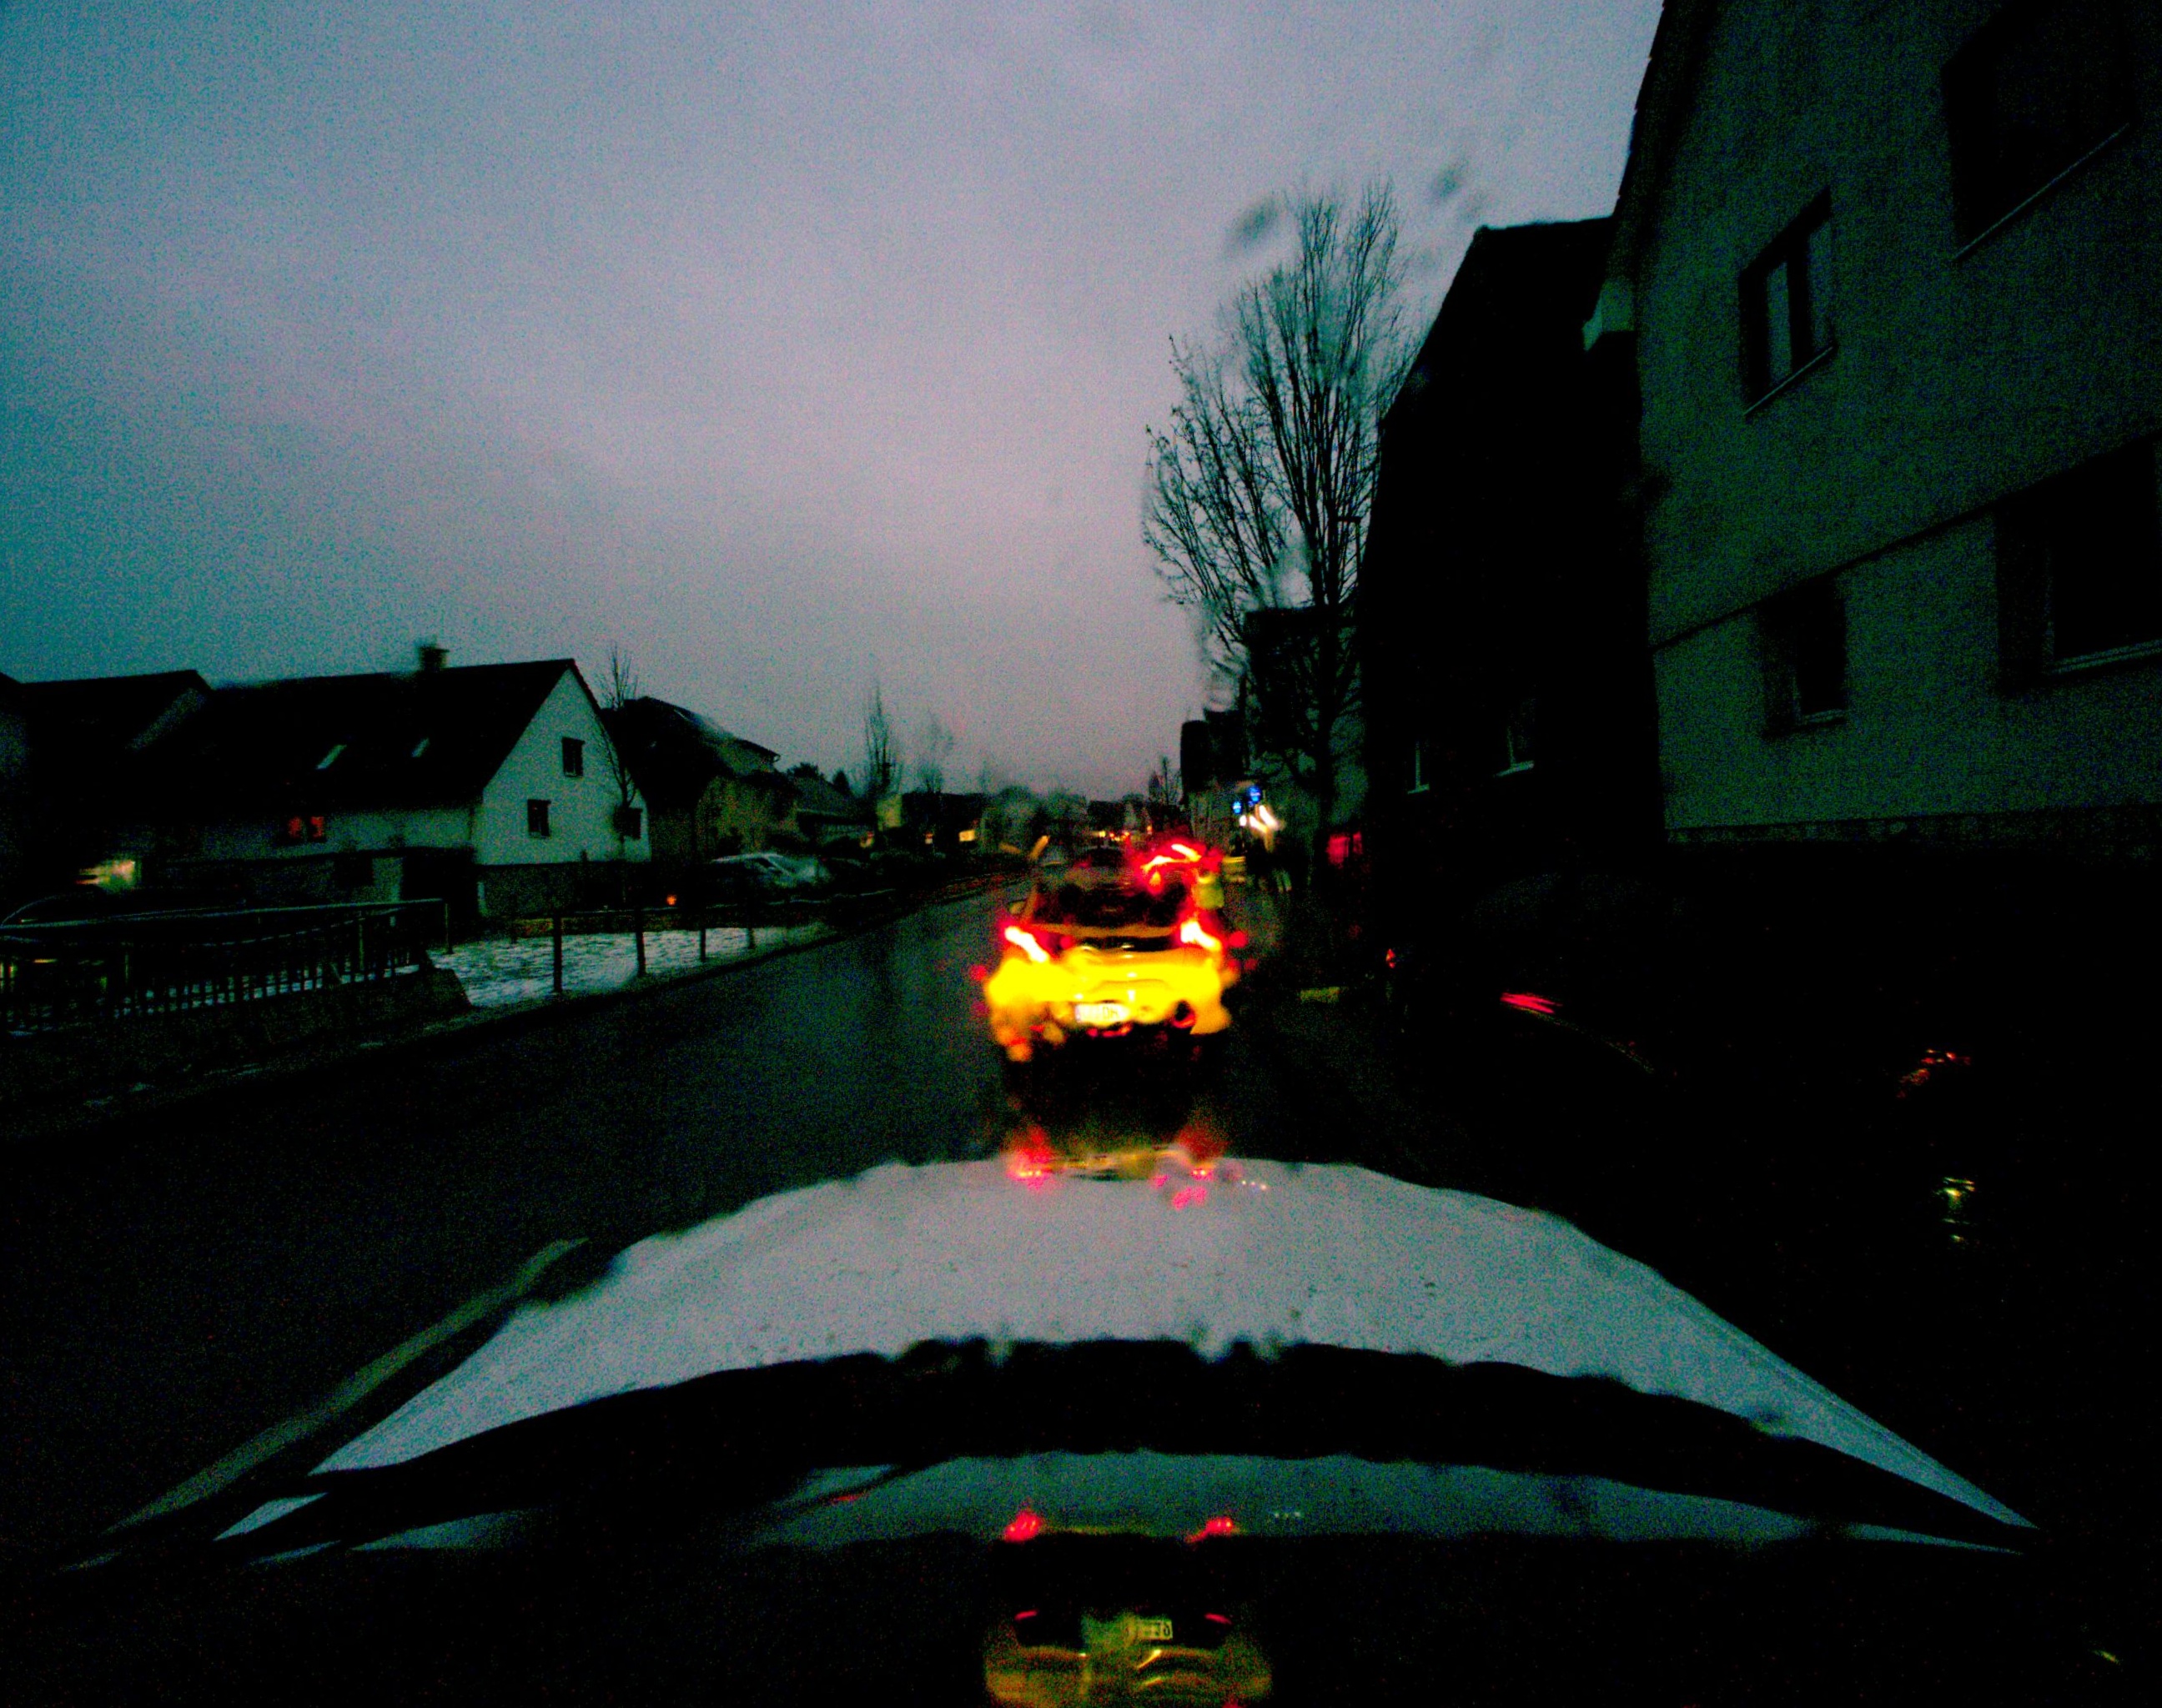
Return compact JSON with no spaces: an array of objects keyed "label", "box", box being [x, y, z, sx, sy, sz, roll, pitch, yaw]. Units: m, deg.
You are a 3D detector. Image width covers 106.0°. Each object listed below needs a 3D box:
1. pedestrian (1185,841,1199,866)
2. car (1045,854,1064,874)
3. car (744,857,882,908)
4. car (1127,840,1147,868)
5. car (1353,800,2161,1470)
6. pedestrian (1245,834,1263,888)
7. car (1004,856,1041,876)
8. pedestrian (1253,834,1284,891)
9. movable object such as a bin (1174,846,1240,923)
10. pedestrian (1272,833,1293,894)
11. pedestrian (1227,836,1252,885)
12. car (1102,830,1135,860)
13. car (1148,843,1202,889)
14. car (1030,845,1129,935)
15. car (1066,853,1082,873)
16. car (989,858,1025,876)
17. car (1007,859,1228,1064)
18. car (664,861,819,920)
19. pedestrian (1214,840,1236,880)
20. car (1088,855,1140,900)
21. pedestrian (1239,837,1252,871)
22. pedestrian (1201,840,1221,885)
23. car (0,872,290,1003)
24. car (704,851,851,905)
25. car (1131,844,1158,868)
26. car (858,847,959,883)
[{"label":"pedestrian","box":[7.016,-0.035,51.335,0.618,1.515,0.731,-2,1,-12]},{"label":"car","box":[-2.879,1.068,88.120,1.913,2.028,3.974,-1,-2,0]},{"label":"car","box":[-9.019,0.949,27.550,4.074,1.608,1.589,-1,-1,5]},{"label":"car","box":[5.297,0.046,77.512,1.862,2.469,4.446,-1,-2,3]},{"label":"car","box":[2.805,0.612,3.949,1.721,1.464,4.203,-5,0,4]},{"label":"pedestrian","box":[5.849,0.228,27.545,0.525,1.800,0.867,-1,0,12]},{"label":"car","box":[-6.850,1.446,94.992,2.011,2.167,4.331,2,-3,-44]},{"label":"pedestrian","box":[5.852,0.264,25.441,0.743,1.679,1.054,-4,-1,8]},{"label":"movable object such as a bin","box":[2.575,0.595,16.863,1.124,1.420,1.419,-5,1,4]},{"label":"pedestrian","box":[5.575,0.272,22.561,0.525,1.653,0.957,-1,-2,12]},{"label":"pedestrian","box":[5.712,0.213,29.359,0.707,1.715,1.039,-3,0,15]},{"label":"car","box":[4.210,-0.902,90.380,3.174,3.032,6.316,-1,-2,7]},{"label":"car","box":[3.758,0.451,33.200,1.729,1.692,4.387,-2,0,1]},{"label":"car","box":[0.074,0.655,16.644,1.759,1.628,3.589,-1,0,4]},{"label":"car","box":[-0.805,1.086,95.845,1.913,2.216,3.974,-1,-2,0]},{"label":"car","box":[-8.329,1.484,91.636,1.833,1.976,4.117,2,-3,-44]},{"label":"car","box":[0.308,0.778,7.307,1.557,1.412,3.019,-1,0,2]},{"label":"car","box":[-9.073,0.966,21.950,3.432,1.372,1.601,-2,0,1]},{"label":"pedestrian","box":[6.072,0.243,34.354,0.618,1.626,0.903,-2,1,-11]},{"label":"car","box":[1.053,0.700,26.164,1.535,1.331,3.312,-1,0,2]},{"label":"pedestrian","box":[8.543,0.021,42.179,0.614,1.727,0.503,-1,-2,13]},{"label":"pedestrian","box":[5.047,0.327,31.678,0.571,1.699,0.653,-4,-1,3]},{"label":"car","box":[-14.178,1.136,11.220,1.794,1.482,4.577,-4,1,4]},{"label":"car","box":[-9.170,0.711,24.713,3.772,1.523,1.718,-1,-1,8]},{"label":"car","box":[5.041,0.177,65.212,1.990,1.865,4.085,-1,-1,2]},{"label":"car","box":[-8.608,0.567,41.008,4.611,1.667,1.999,-1,-1,-1]}]
